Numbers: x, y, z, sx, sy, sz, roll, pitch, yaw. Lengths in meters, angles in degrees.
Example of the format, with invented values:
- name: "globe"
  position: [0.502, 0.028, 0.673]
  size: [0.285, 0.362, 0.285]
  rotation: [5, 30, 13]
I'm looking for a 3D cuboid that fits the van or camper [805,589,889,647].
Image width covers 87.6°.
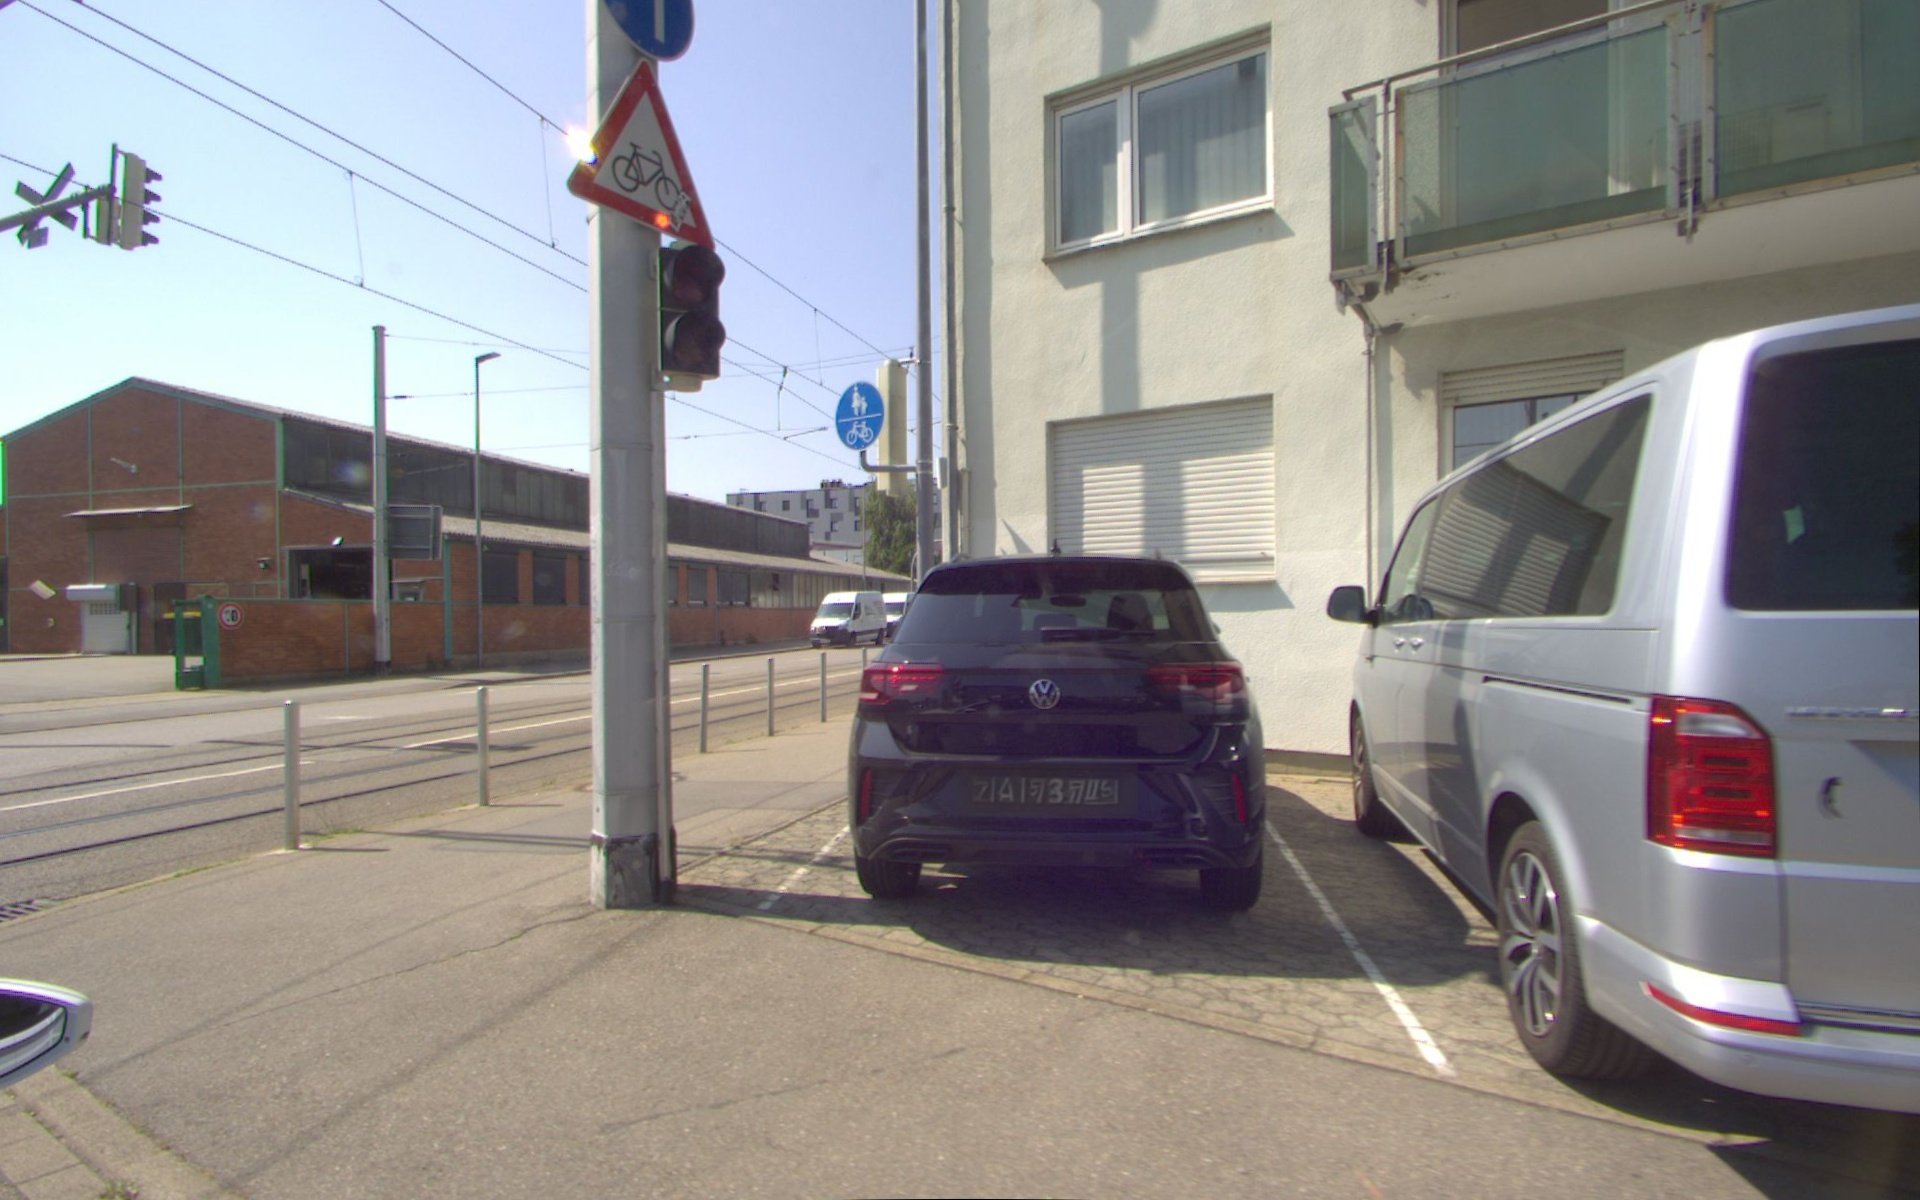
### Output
- name: "van or camper"
  position: [-5.300, 0.844, 47.995]
  size: [2.007, 2.567, 5.862]
  rotation: [-1, 0, 15]

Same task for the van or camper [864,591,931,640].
- name: "van or camper"
  position: [-3.370, 0.828, 55.257]
  size: [2.007, 2.567, 5.575]
  rotation: [-1, 0, 15]

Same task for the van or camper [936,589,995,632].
- name: "van or camper"
  position: [0.484, 0.730, 69.576]
  size: [2.478, 2.823, 7.109]
  rotation: [-1, 0, 14]

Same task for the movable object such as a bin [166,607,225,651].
- name: "movable object such as a bin"
  position: [-23.856, 0.902, 31.251]
  size: [1.131, 1.332, 0.976]
  rotation: [-1, 1, 17]

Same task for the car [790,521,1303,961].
- name: "car"
  position: [0.576, 0.529, 5.608]
  size: [1.844, 1.541, 3.972]
  rotation: [-1, -1, 9]

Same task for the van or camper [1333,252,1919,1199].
- name: "van or camper"
  position: [2.790, 0.333, 3.884]
  size: [1.963, 1.933, 4.551]
  rotation: [0, 0, 13]
